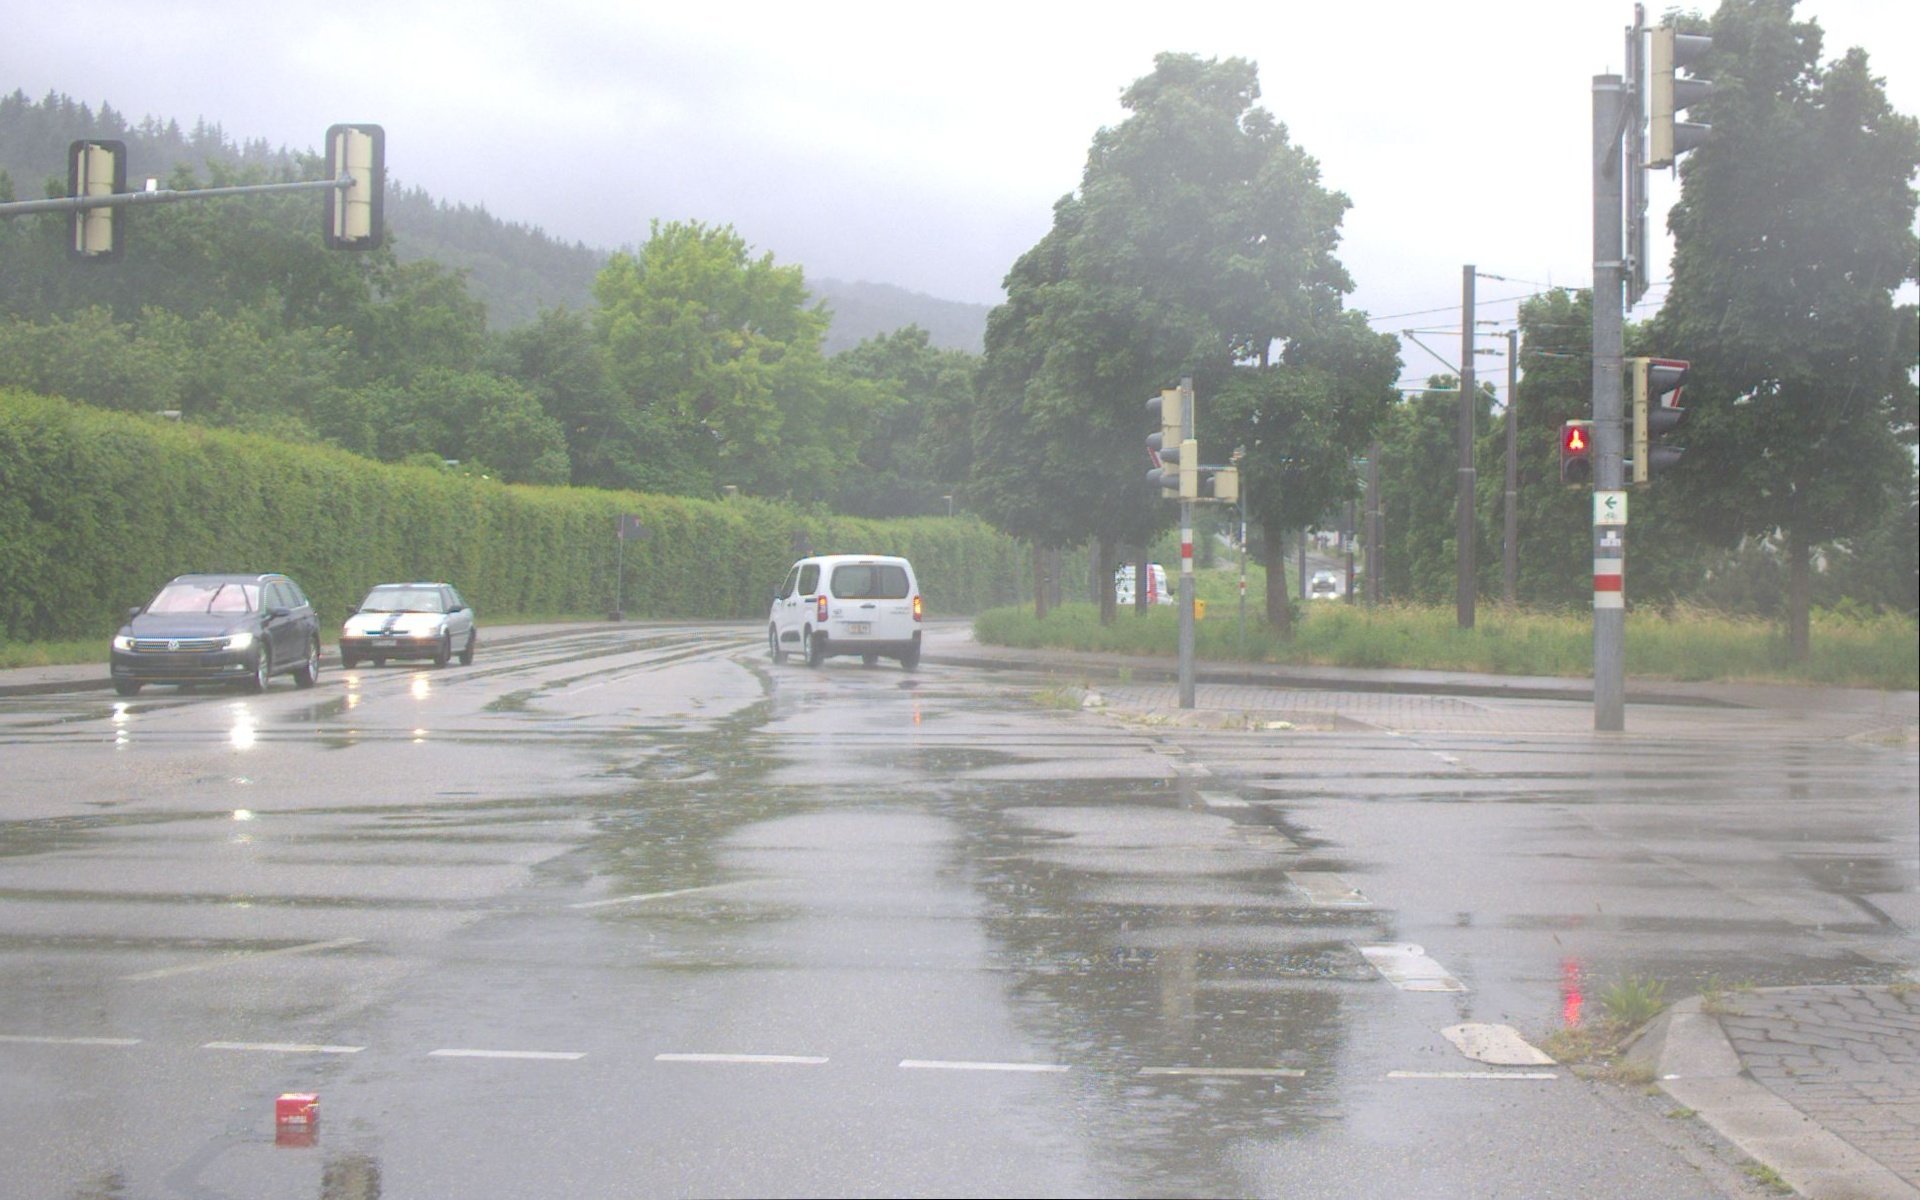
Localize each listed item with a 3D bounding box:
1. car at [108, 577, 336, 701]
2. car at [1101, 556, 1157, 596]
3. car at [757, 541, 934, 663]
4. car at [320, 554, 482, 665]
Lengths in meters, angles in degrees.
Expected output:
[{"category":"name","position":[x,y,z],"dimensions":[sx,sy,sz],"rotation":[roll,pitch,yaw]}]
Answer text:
[{"category":"car","position":[-9.281,0.454,43.560],"dimensions":[1.709,1.461,4.452],"rotation":[0,1,3]},{"category":"car","position":[8.182,-1.188,166.040],"dimensions":[1.933,1.883,4.059],"rotation":[0,1,14]},{"category":"car","position":[-1.912,-0.003,56.000],"dimensions":[1.953,1.897,4.121],"rotation":[0,1,-16]},{"category":"car","position":[-9.154,0.120,56.600],"dimensions":[2.036,1.702,4.066],"rotation":[1,1,-1]}]
